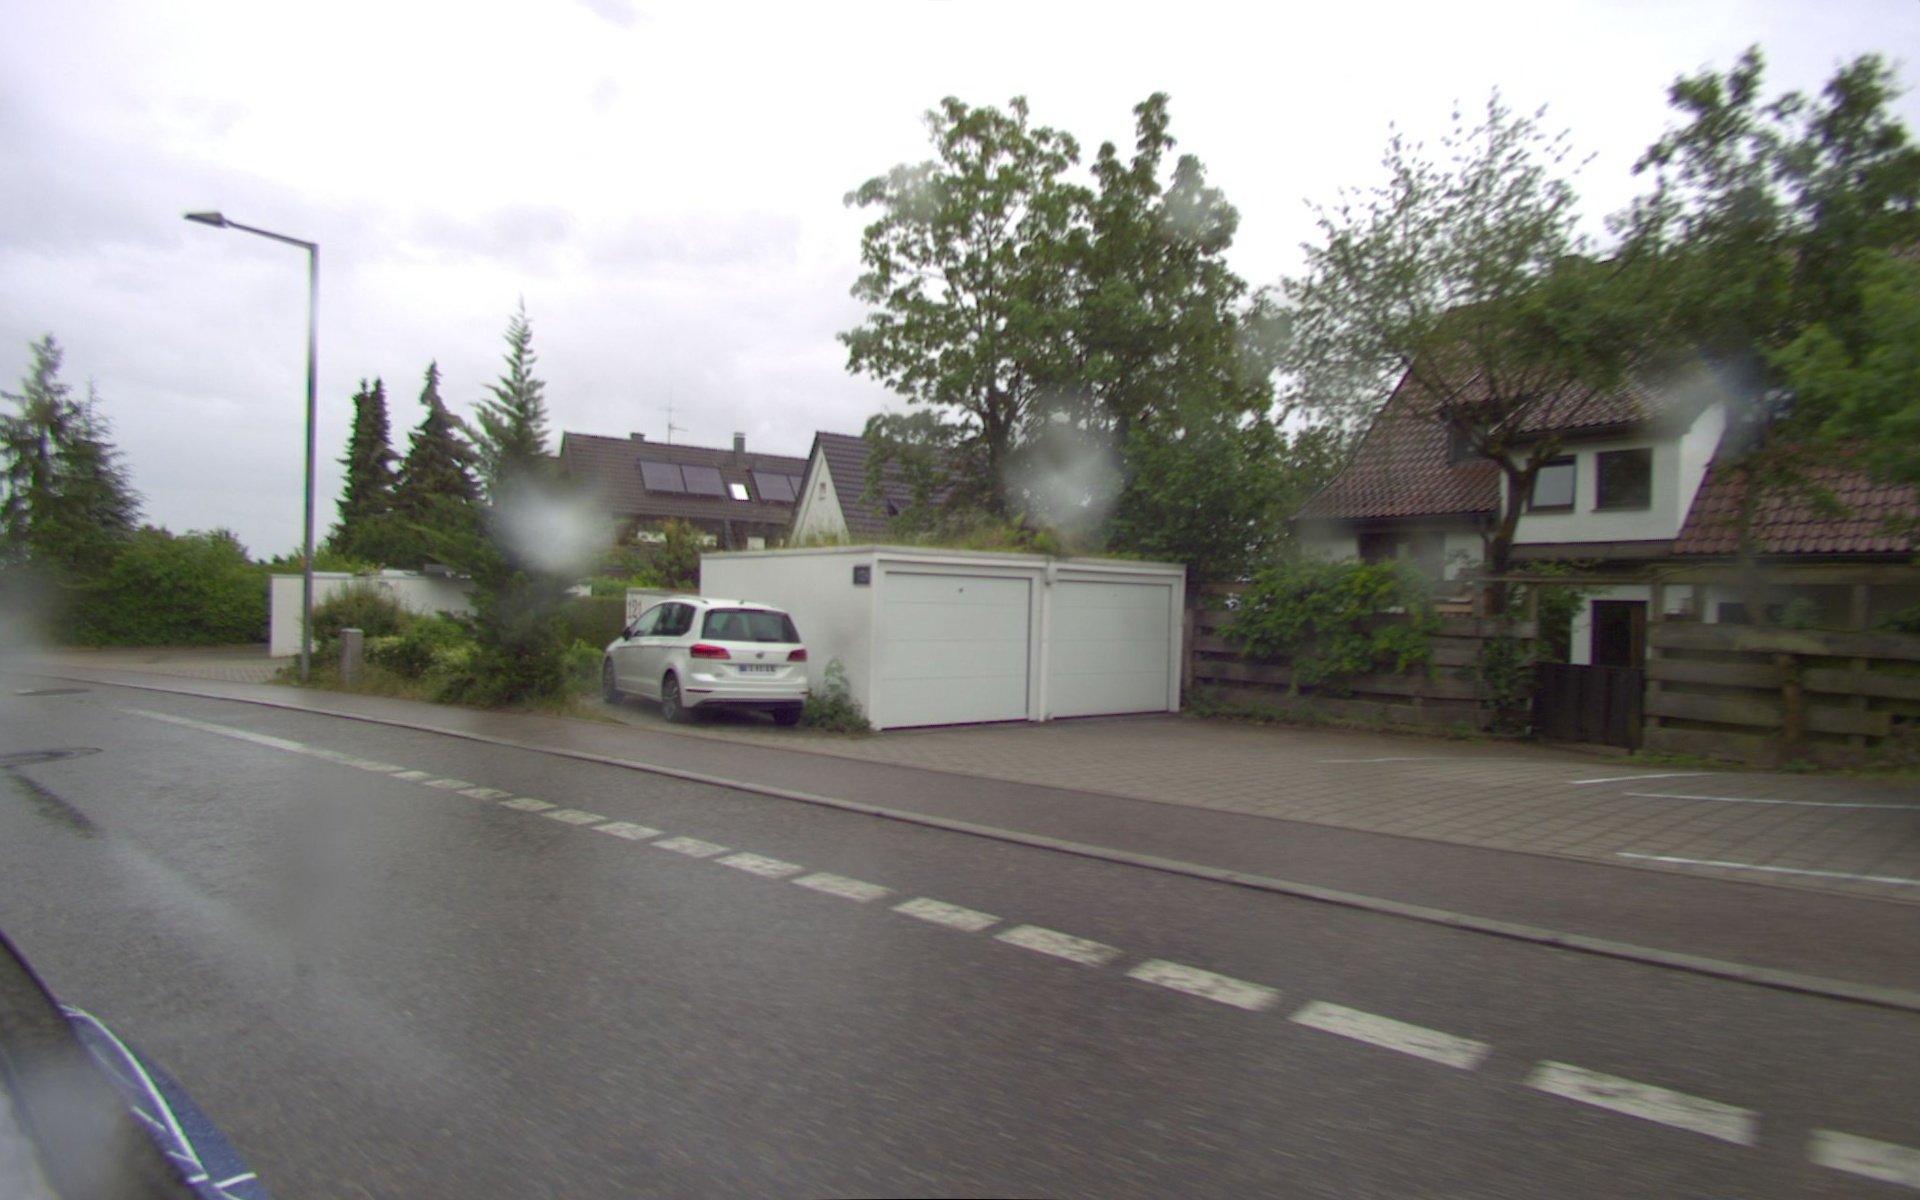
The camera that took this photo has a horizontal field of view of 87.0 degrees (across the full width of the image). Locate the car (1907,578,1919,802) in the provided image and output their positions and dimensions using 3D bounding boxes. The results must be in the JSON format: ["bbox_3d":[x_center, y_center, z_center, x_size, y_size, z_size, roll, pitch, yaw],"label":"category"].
[{"bbox_3d":[7.480,0.537,4.635,4.244,1.416,1.820,-1,-1,31],"label":"car"}]

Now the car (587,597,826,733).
[{"bbox_3d":[-3.646,0.777,13.956,1.682,1.565,4.399,0,-1,-36],"label":"car"}]
